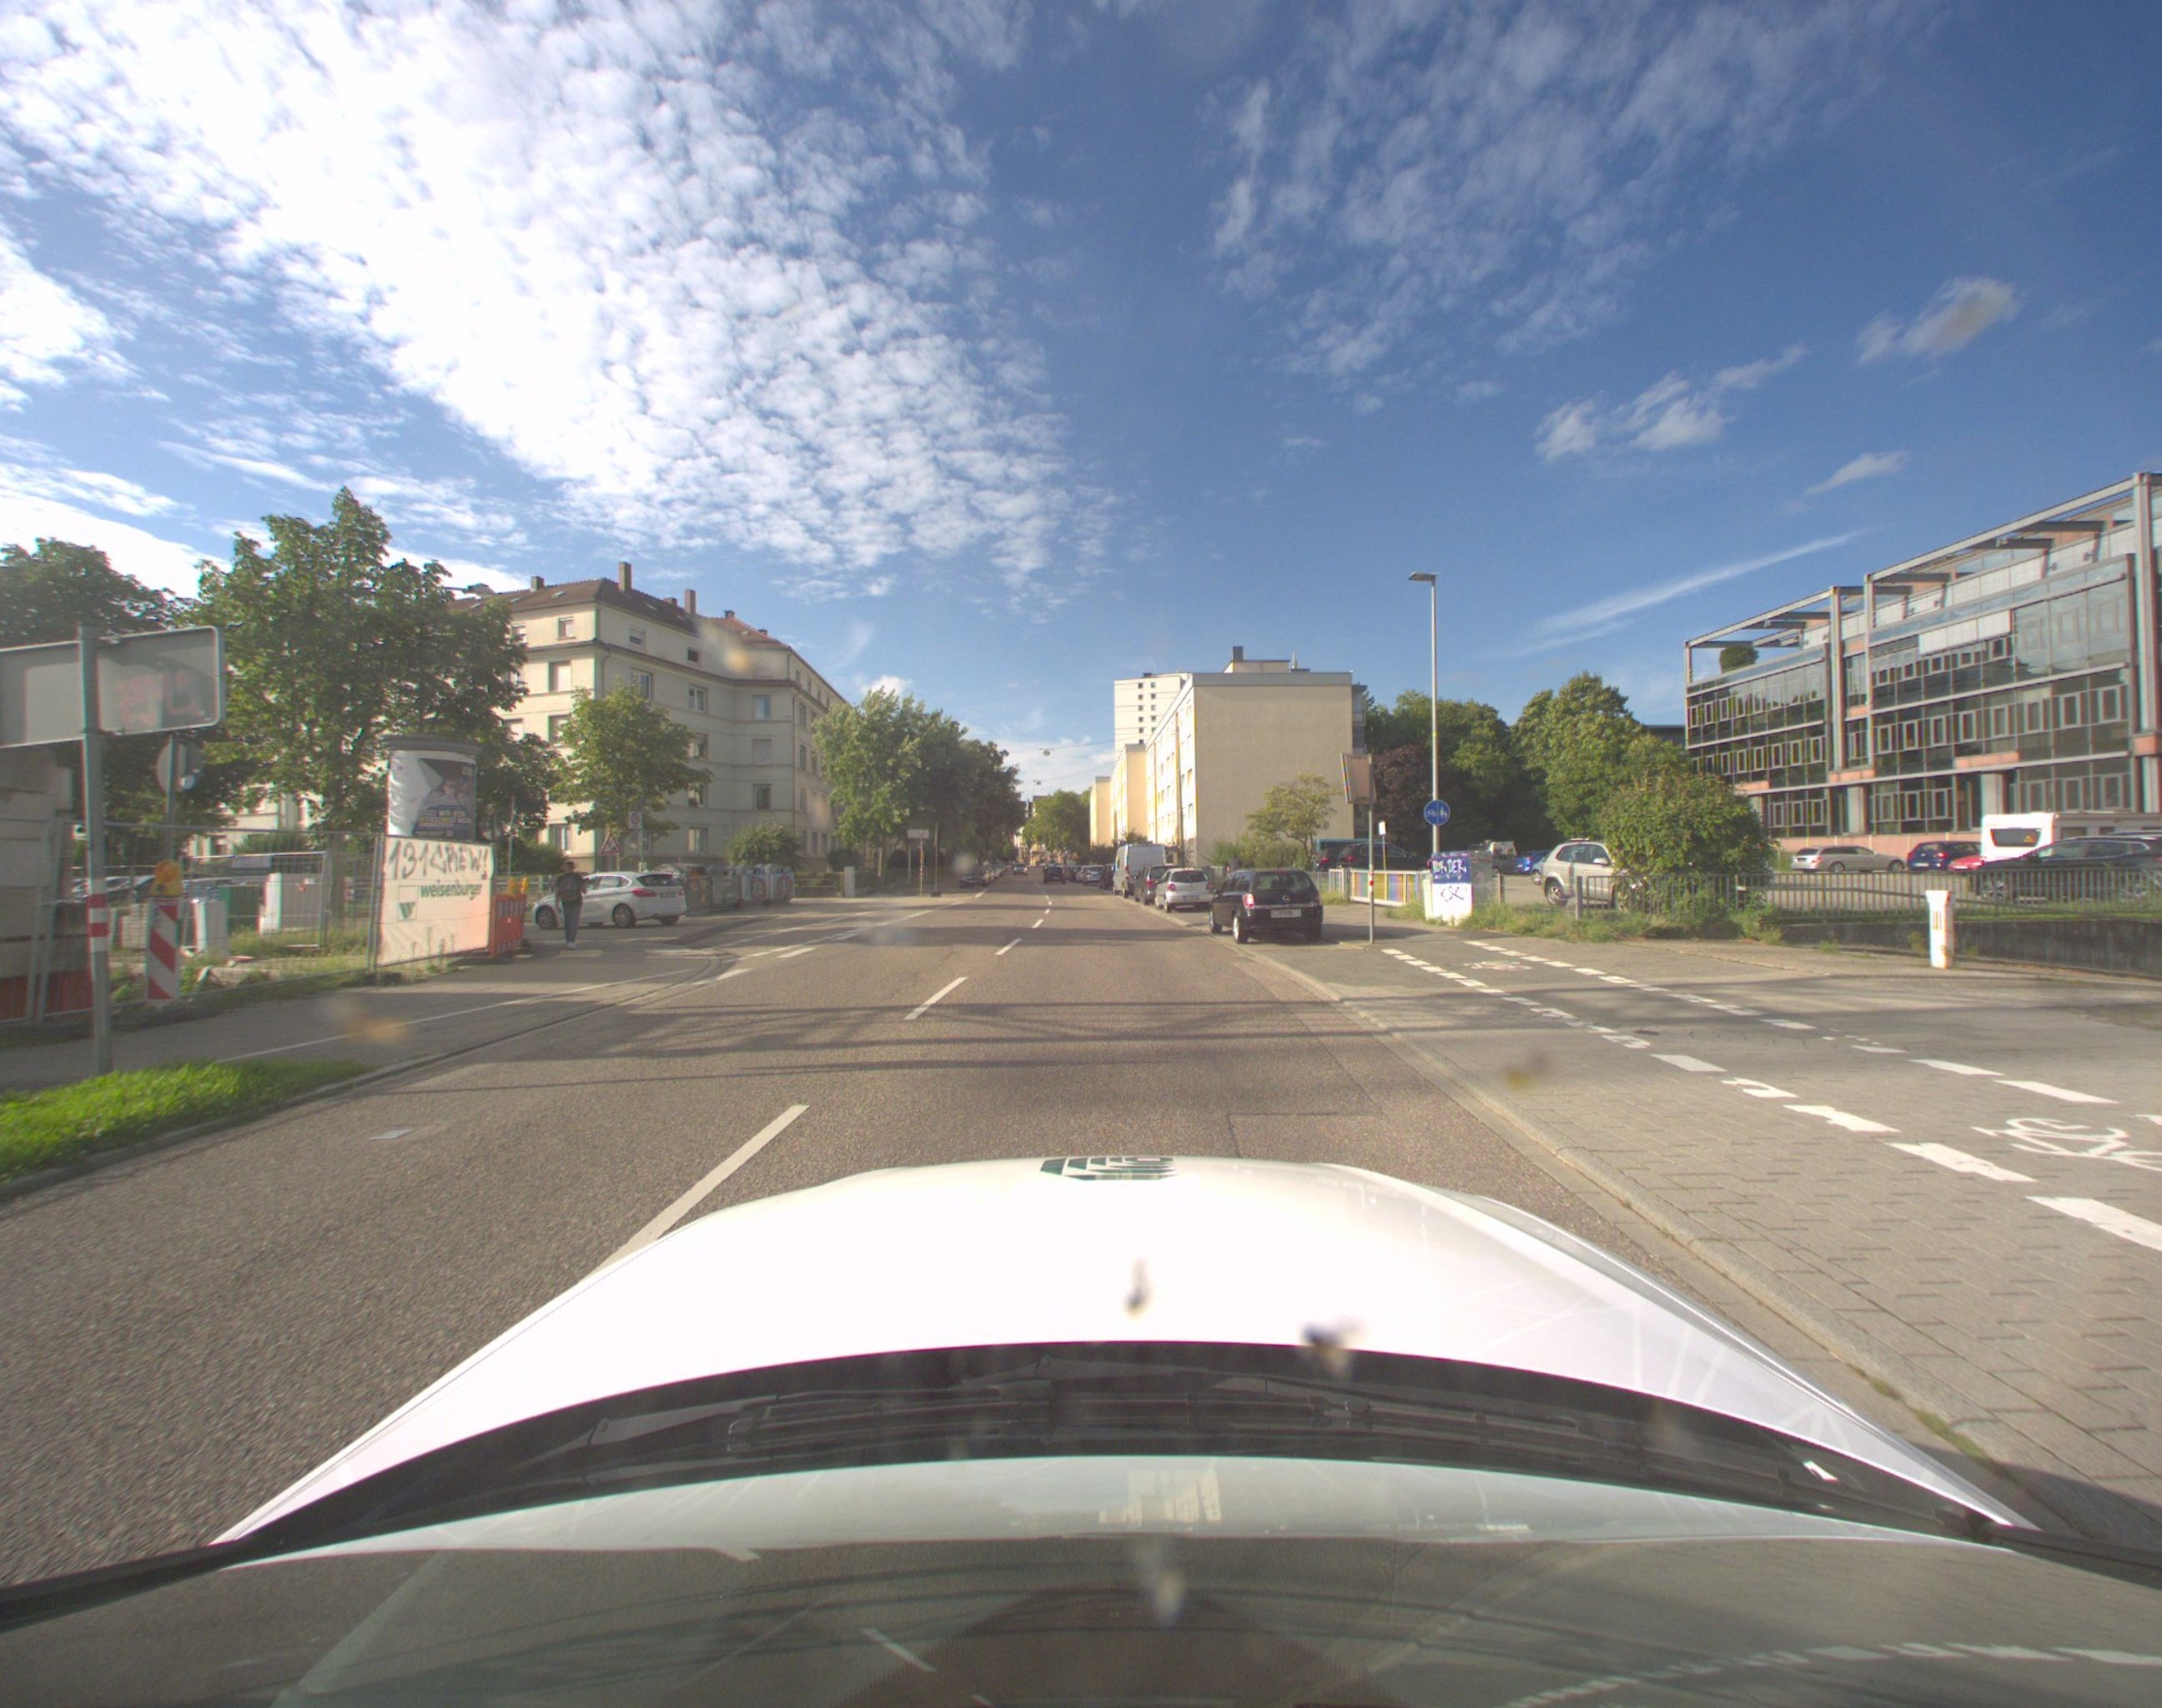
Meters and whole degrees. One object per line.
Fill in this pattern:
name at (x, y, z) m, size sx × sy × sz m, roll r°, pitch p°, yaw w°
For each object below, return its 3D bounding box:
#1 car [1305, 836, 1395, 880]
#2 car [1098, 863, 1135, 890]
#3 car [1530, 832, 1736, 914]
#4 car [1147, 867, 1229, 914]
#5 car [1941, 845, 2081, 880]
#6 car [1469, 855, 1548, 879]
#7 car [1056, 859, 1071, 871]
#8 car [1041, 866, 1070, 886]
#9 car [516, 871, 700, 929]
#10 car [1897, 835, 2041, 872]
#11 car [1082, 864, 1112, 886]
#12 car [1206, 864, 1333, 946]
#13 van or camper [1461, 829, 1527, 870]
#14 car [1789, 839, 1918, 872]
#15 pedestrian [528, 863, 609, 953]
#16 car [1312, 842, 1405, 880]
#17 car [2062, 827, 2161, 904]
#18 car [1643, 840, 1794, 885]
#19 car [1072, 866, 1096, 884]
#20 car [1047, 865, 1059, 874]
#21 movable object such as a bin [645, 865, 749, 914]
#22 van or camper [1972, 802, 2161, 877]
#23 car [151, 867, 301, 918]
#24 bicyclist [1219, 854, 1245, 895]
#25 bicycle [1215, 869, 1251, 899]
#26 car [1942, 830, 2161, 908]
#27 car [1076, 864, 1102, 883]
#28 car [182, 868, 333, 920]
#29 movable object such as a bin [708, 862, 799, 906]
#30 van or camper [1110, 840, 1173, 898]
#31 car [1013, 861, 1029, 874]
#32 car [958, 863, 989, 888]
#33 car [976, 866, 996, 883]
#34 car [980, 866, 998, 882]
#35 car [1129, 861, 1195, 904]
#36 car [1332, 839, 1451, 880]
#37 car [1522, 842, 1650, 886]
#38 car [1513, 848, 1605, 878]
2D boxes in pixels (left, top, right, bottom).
car at (14.194, 0.210, 43.129) m, size 4.103 × 2.186 × 2.001 m, roll -2°, pitch -1°, yaw 2°
car at (2.176, 1.381, 51.060) m, size 1.988 × 1.574 × 3.997 m, roll -2°, pitch -1°, yaw -2°
car at (12.743, 0.427, 19.188) m, size 1.987 × 1.666 × 4.150 m, roll -2°, pitch -1°, yaw 0°
car at (3.675, 1.240, 28.898) m, size 2.011 × 1.475 × 4.796 m, roll -2°, pitch -1°, yaw -3°
car at (37.505, 0.347, 32.896) m, size 3.978 × 1.288 × 1.660 m, roll -1°, pitch -1°, yaw -4°
car at (26.845, 0.820, 51.216) m, size 3.978 × 1.329 × 1.998 m, roll -2°, pitch -1°, yaw -4°
car at (-2.539, 1.563, 117.906) m, size 1.988 × 1.684 × 3.997 m, roll -2°, pitch -1°, yaw -2°
car at (-2.142, 1.757, 67.027) m, size 1.992 × 1.570 × 3.989 m, roll 0°, pitch -1°, yaw -8°
car at (-13.348, 1.253, 23.106) m, size 4.230 × 1.555 × 2.007 m, roll 0°, pitch -1°, yaw 13°
car at (38.291, -0.025, 35.178) m, size 4.308 × 1.355 × 1.808 m, roll -3°, pitch -1°, yaw -2°
car at (1.175, 1.583, 61.582) m, size 1.988 × 1.574 × 3.997 m, roll -2°, pitch -1°, yaw -2°
car at (3.879, 1.005, 17.488) m, size 1.712 × 1.496 × 4.267 m, roll -1°, pitch -1°, yaw 0°
van or camper at (30.813, -0.270, 60.921) m, size 2.321 × 2.875 × 5.122 m, roll -2°, pitch -1°, yaw 1°
car at (37.784, 0.077, 39.927) m, size 4.296 × 1.379 × 1.813 m, roll -3°, pitch -1°, yaw 7°
pedestrian at (-10.233, 1.058, 16.317) m, size 1.008 × 1.728 × 1.173 m, roll 0°, pitch -2°, yaw -13°
car at (13.852, 0.362, 40.803) m, size 3.971 × 1.739 × 2.001 m, roll -2°, pitch -1°, yaw 2°
car at (25.717, 0.213, 18.080) m, size 1.848 × 1.743 × 4.792 m, roll -2°, pitch -1°, yaw -6°
car at (22.779, 0.304, 29.298) m, size 1.992 × 1.442 × 3.988 m, roll -2°, pitch -1°, yaw -8°
car at (0.251, 1.892, 73.948) m, size 1.988 × 1.574 × 3.997 m, roll -2°, pitch -1°, yaw -2°
car at (-5.065, 2.844, 148.579) m, size 1.987 × 1.755 × 3.998 m, roll 0°, pitch -1°, yaw -1°
movable object such as a bin at (-14.024, 1.268, 29.801) m, size 3.081 × 1.708 × 1.553 m, roll 0°, pitch -1°, yaw 13°
van or camper at (37.108, -0.526, 30.306) m, size 5.227 × 2.557 × 2.593 m, roll -2°, pitch -1°, yaw -3°
car at (-36.993, 1.628, 35.395) m, size 1.979 × 2.014 × 4.015 m, roll -2°, pitch -1°, yaw 14°
bicyclist at (5.781, 0.774, 31.230) m, size 0.735 × 1.513 × 0.874 m, roll -3°, pitch -1°, yaw -2°
bicycle at (5.802, 1.118, 31.188) m, size 0.738 × 1.035 × 2.760 m, roll -3°, pitch -1°, yaw -1°
car at (22.944, 0.319, 18.506) m, size 1.844 × 1.589 × 4.606 m, roll -2°, pitch -1°, yaw 0°
car at (0.634, 1.669, 69.528) m, size 1.988 × 1.530 × 3.997 m, roll -2°, pitch -1°, yaw -2°
car at (-34.599, 1.637, 34.374) m, size 1.979 × 2.014 × 4.015 m, roll -2°, pitch -1°, yaw 14°
movable object such as a bin at (-13.147, 1.164, 32.738) m, size 3.082 × 1.708 × 1.415 m, roll 0°, pitch 0°, yaw 12°
van or camper at (2.855, 0.725, 39.982) m, size 2.206 × 2.607 × 5.361 m, roll -2°, pitch -1°, yaw -5°
car at (-8.294, 1.815, 112.512) m, size 2.054 × 1.663 × 3.916 m, roll -2°, pitch -1°, yaw -7°
car at (-7.419, 1.472, 56.209) m, size 1.992 × 1.640 × 3.989 m, roll -2°, pitch -1°, yaw -7°
car at (-8.450, 1.794, 72.421) m, size 1.636 × 1.390 × 3.425 m, roll -2°, pitch -1°, yaw -7°
car at (-9.741, 2.083, 86.347) m, size 1.805 × 1.561 × 3.425 m, roll -2°, pitch -1°, yaw -7°
car at (3.320, 1.154, 34.133) m, size 1.990 × 1.616 × 4.401 m, roll -2°, pitch -1°, yaw -4°
car at (13.500, 0.231, 35.631) m, size 4.431 × 1.622 × 2.001 m, roll -2°, pitch -1°, yaw 2°
car at (18.197, 0.369, 29.609) m, size 1.990 × 1.442 × 3.994 m, roll -2°, pitch -1°, yaw -4°
car at (26.796, 0.486, 45.766) m, size 3.977 × 1.552 × 1.998 m, roll -2°, pitch -1°, yaw -3°
